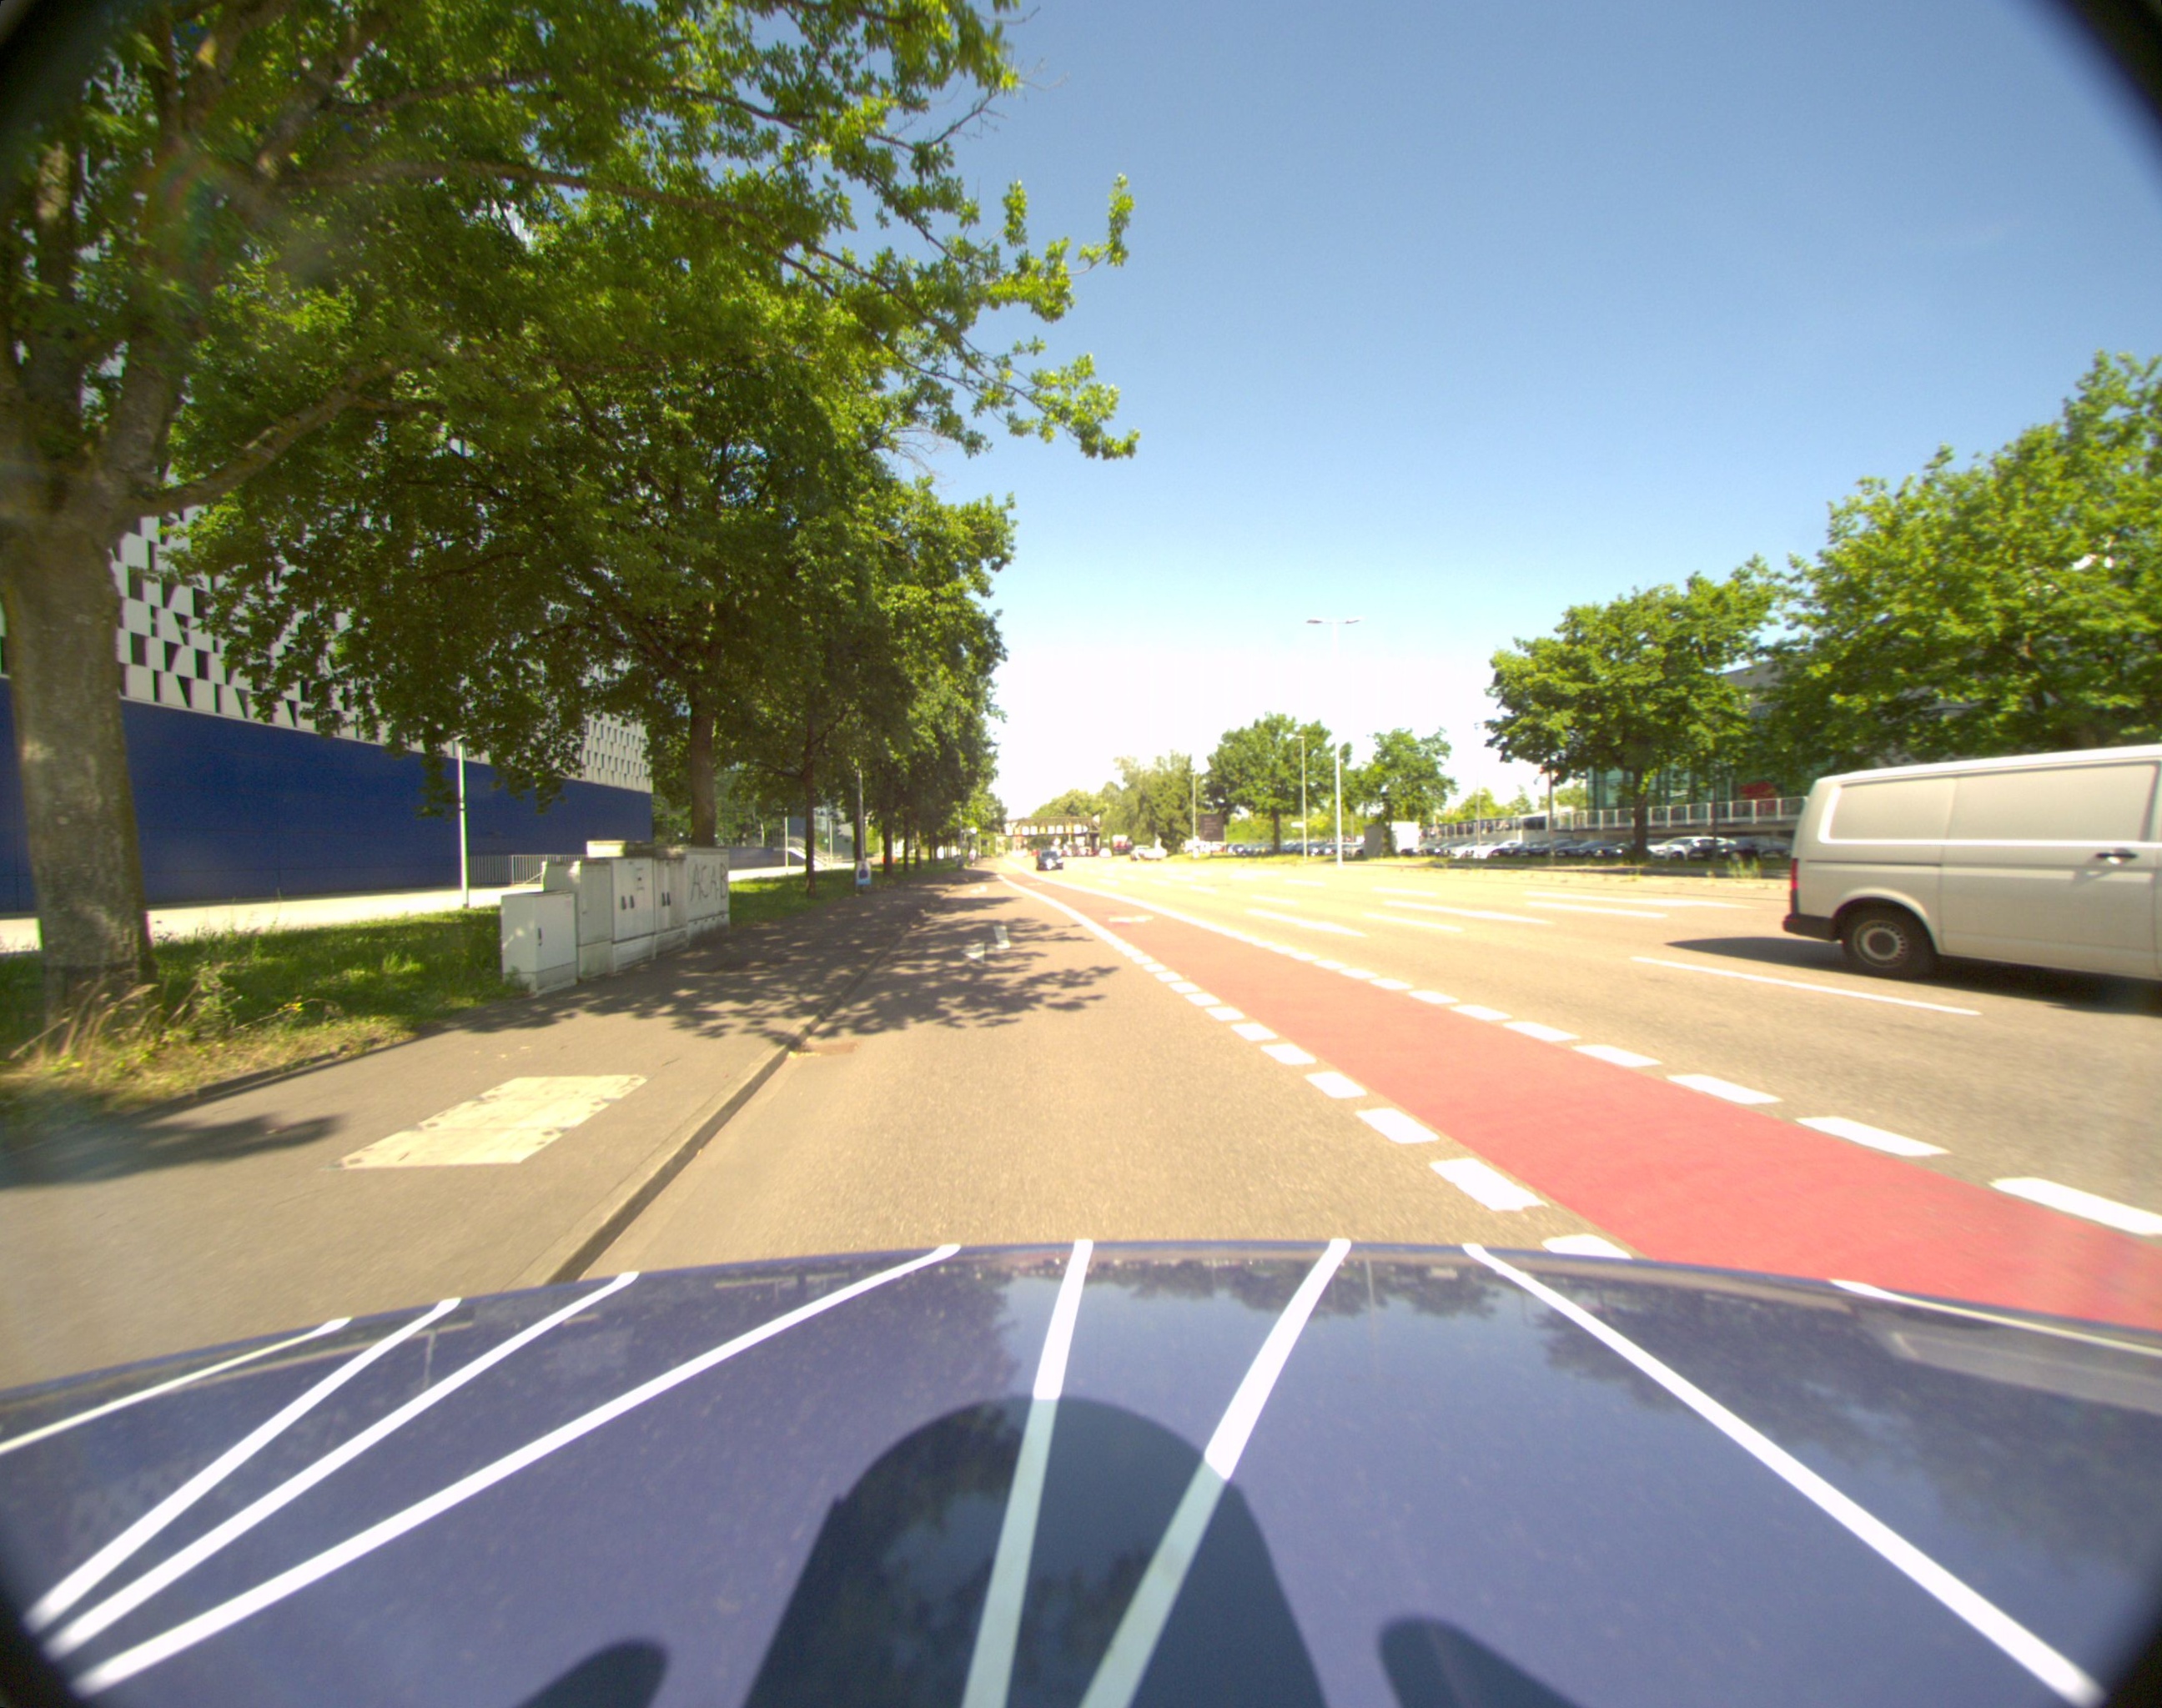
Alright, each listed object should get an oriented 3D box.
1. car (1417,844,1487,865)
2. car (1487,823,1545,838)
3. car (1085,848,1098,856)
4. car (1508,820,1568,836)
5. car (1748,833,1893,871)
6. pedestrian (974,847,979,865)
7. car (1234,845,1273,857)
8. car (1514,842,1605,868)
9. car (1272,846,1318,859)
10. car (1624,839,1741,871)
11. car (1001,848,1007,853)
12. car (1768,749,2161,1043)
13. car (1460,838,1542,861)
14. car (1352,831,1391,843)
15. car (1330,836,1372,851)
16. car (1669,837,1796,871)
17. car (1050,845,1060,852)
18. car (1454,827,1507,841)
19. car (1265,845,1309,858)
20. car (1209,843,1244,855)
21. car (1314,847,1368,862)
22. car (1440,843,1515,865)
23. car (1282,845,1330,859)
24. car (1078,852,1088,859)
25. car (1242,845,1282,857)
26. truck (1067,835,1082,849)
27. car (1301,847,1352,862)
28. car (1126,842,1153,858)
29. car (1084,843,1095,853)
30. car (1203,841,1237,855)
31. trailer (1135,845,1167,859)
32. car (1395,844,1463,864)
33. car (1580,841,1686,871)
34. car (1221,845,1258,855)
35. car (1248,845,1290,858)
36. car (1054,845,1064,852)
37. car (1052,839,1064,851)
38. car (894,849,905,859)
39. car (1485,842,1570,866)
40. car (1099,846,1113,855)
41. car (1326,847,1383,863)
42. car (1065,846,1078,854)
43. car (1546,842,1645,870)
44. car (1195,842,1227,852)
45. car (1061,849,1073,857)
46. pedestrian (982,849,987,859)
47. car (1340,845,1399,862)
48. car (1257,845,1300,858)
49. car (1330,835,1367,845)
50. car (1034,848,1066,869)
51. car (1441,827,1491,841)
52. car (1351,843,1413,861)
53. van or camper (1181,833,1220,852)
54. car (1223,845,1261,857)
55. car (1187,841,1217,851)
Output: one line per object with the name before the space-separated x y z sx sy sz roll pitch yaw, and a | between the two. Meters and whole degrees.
car | 25.639 0.025 52.600 3.999 1.368 1.864 -1 0 -6
car | 40.321 -2.181 70.497 4.279 1.343 1.953 -1 0 -6
car | 2.068 -0.390 150.220 2.000 1.405 4.678 -1 0 -6
car | 40.656 -2.287 67.695 4.279 1.343 1.953 -1 0 -6
car | 28.618 -0.067 29.484 3.999 1.368 1.923 -1 0 -6
pedestrian | -10.767 0.221 78.359 0.536 1.831 0.727 -1 1 -6
car | 21.192 -0.373 93.189 4.278 1.343 1.953 -1 0 -4
car | 26.697 0.056 42.437 3.999 1.368 1.923 -1 0 -6
car | 22.566 -0.173 80.269 4.278 1.343 1.953 -1 0 -4
car | 27.494 0.019 34.784 3.999 1.368 1.923 -1 0 -6
car | -24.927 -1.157 245.467 1.824 1.346 3.996 -1 0 -10
car | 8.217 0.272 5.408 1.887 1.982 4.972 -1 0 -5
car | 26.255 -0.291 47.563 4.054 1.368 2.024 -1 0 -6
car | 36.876 -2.152 96.486 4.279 1.343 1.953 -1 0 -6
car | 31.837 -1.196 89.566 4.278 1.633 1.953 -1 0 -4
car | 27.877 0.009 32.564 3.999 1.368 1.923 -1 0 -6
car | -5.702 -1.191 166.201 1.774 1.485 4.176 0 -1 -6
car | 39.661 -1.977 75.479 4.279 1.343 1.953 -1 0 -6
car | 22.499 -0.287 83.009 4.278 1.343 1.953 -1 0 -4
car | 19.413 -0.620 101.677 4.278 1.495 1.953 -1 0 -4
car | 23.835 0.038 69.665 4.278 1.343 1.953 -1 0 -4
car | 26.027 0.023 49.964 3.999 1.368 1.864 -1 0 -6
car | 23.068 -0.225 77.913 4.278 1.343 1.953 -1 0 -4
car | 0.428 0.279 165.744 1.774 1.485 4.176 0 -1 -6
car | 21.539 -0.355 90.640 4.278 1.343 1.953 -1 0 -4
truck | -1.546 -2.750 179.770 2.349 3.070 7.063 -1 0 -10
car | 23.426 0.083 72.564 4.278 1.343 1.953 -1 0 -4
car | 6.570 -0.447 86.135 2.000 1.822 4.933 -1 0 -9
car | 1.696 -1.184 158.610 1.999 2.002 5.345 0 0 -2
car | 18.982 -0.842 103.936 4.278 1.873 1.953 -1 1 -4
trailer | 7.395 -0.187 80.772 2.000 1.444 5.767 -1 0 -9
car | 25.246 0.021 55.206 3.999 1.368 1.999 -1 0 -6
car | 27.163 0.086 37.449 3.999 1.368 1.923 -1 0 -6
car | 20.538 -0.524 98.639 4.278 1.320 1.953 -1 0 -4
car | 21.744 -0.288 88.022 4.278 1.343 1.953 -1 0 -4
car | -4.627 -1.146 157.917 1.648 1.485 3.827 0 -1 -7
car | -5.339 -2.028 173.989 2.000 2.788 6.932 1 0 -8
car | -34.561 -0.003 145.047 1.912 1.818 4.175 -1 0 -11
car | 26.497 0.000 45.140 3.999 1.368 1.923 -1 0 -6
car | 4.285 -0.601 129.720 1.659 1.455 3.547 0 0 -9
car | 24.217 0.111 67.373 4.278 1.343 1.953 -1 0 -4
car | -1.727 -0.672 137.912 1.788 1.406 3.997 1 0 -7
car | 26.927 0.087 39.837 3.999 1.368 1.923 -1 0 -6
car | 18.158 -1.017 106.462 4.099 1.286 1.743 -1 0 -4
car | -2.646 -0.273 146.647 1.847 1.455 4.997 1 0 -6
pedestrian | -14.819 0.035 116.399 0.649 1.594 0.846 -1 1 -6
car | 24.524 -0.050 64.750 4.278 1.343 1.953 -1 0 -4
car | 22.165 -0.267 85.513 4.278 1.343 1.953 -1 0 -4
car | 35.660 -1.862 101.372 4.279 1.343 1.953 -1 0 -6
car | -2.334 0.310 56.413 1.911 1.511 4.370 -1 0 -8
car | 39.605 -2.087 78.203 4.279 1.343 1.953 -1 0 -6
car | 24.645 -0.151 62.343 4.278 1.343 1.953 -1 0 -4
van or camper | 18.074 -1.732 115.440 5.395 2.456 1.999 -3 0 -9
car | 20.284 -0.380 95.649 4.278 1.373 1.953 -1 0 -4
car | 17.744 -1.202 111.317 4.098 1.430 1.743 -1 0 -1
